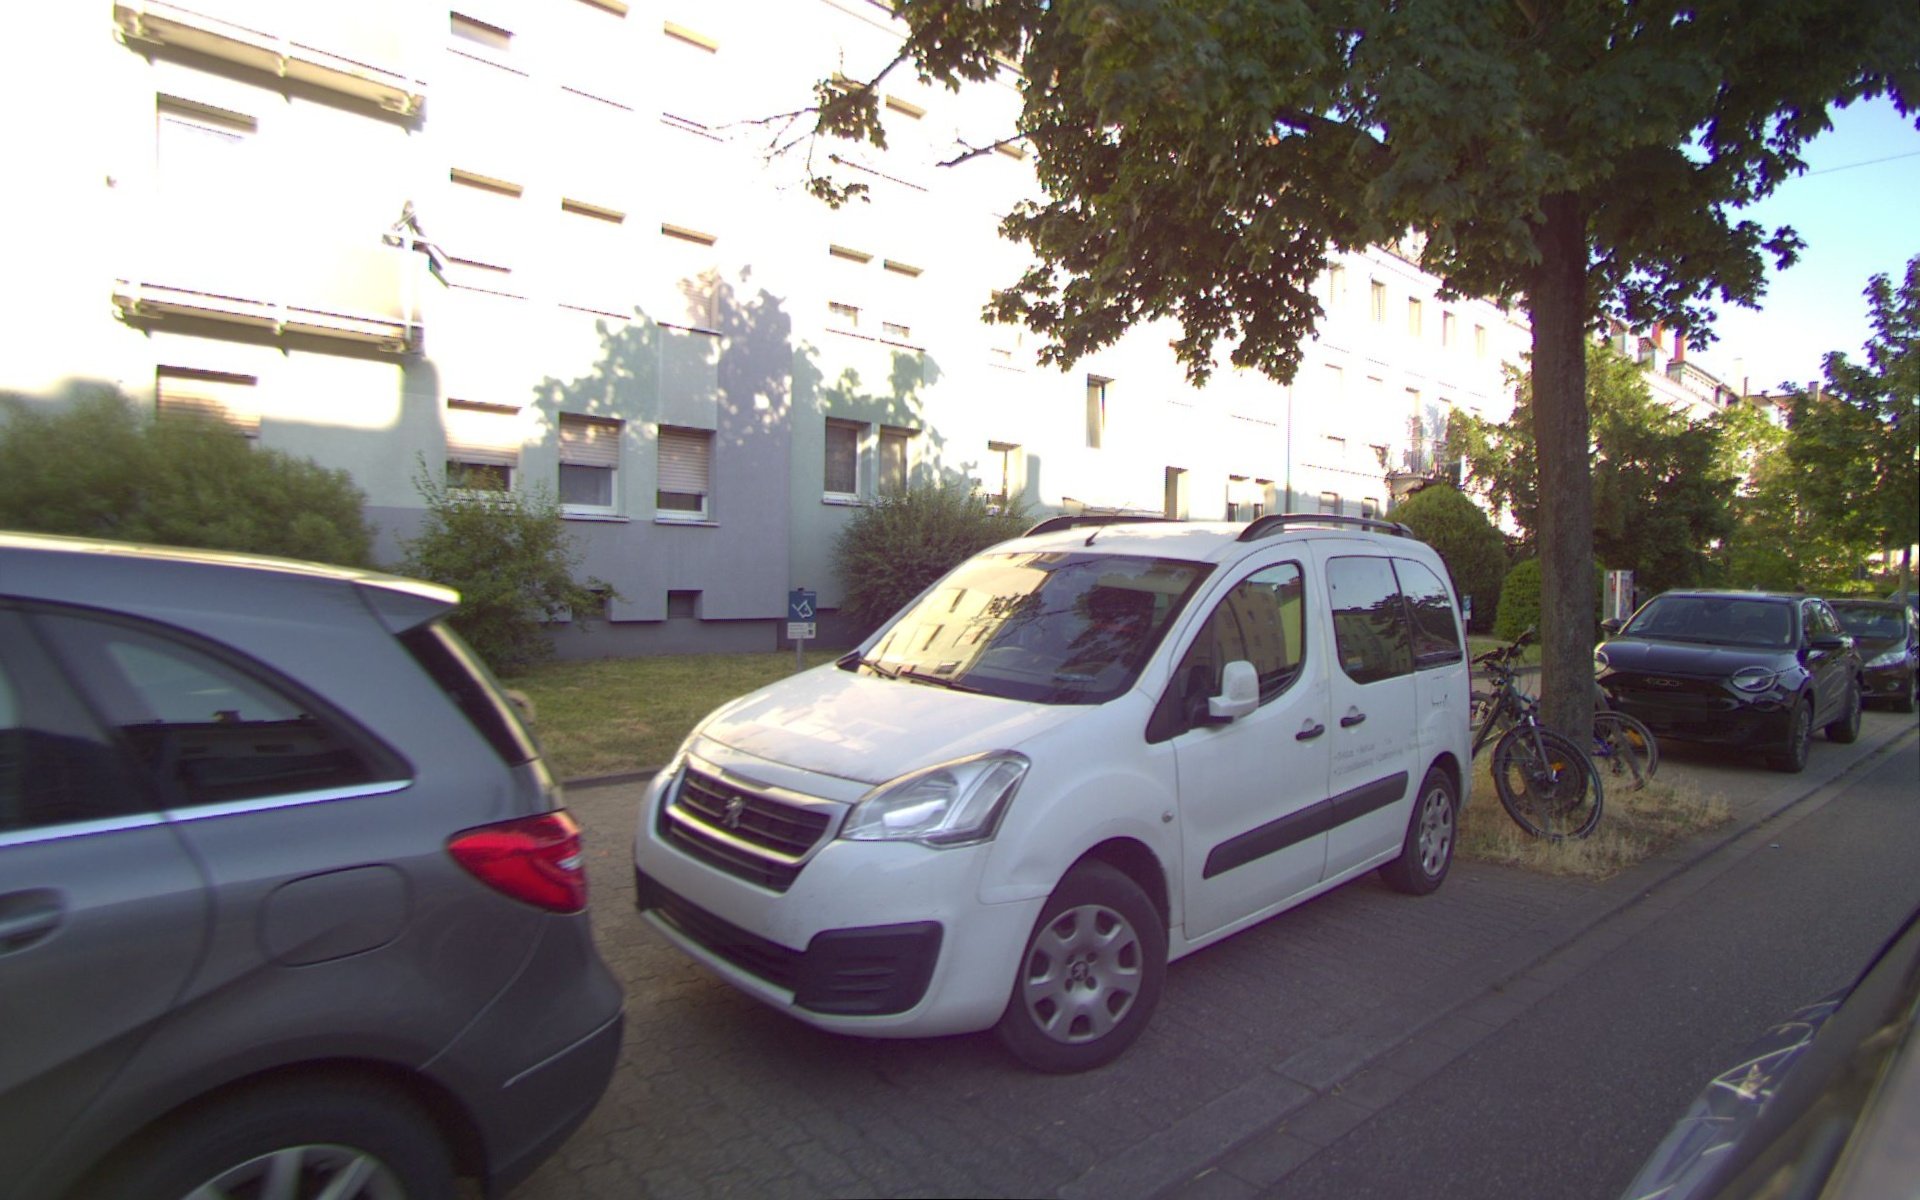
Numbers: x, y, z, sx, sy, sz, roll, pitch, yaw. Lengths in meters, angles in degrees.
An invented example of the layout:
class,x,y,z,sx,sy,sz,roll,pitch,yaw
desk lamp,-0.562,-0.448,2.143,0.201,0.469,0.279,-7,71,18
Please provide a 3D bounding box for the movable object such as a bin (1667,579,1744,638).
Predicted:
class,x,y,z,sx,sy,sz,roll,pitch,yaw
movable object such as a bin,20.390,0.218,27.690,1.116,1.510,1.273,1,3,-30

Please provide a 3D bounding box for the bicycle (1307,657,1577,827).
class,x,y,z,sx,sy,sz,roll,pitch,yaw
bicycle,3.130,0.882,6.680,1.551,0.880,0.387,2,2,42

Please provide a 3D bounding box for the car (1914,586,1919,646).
class,x,y,z,sx,sy,sz,roll,pitch,yaw
car,26.344,0.425,26.412,4.318,1.512,1.721,0,2,-42

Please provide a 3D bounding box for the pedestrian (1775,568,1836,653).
class,x,y,z,sx,sy,sz,roll,pitch,yaw
pedestrian,17.541,0.208,21.003,0.792,1.721,0.790,0,1,-36

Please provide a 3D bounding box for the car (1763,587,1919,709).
class,x,y,z,sx,sy,sz,roll,pitch,yaw
car,13.107,0.590,14.641,3.890,1.484,1.616,0,3,-41

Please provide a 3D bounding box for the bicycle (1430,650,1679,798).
class,x,y,z,sx,sy,sz,roll,pitch,yaw
bicycle,4.406,0.879,7.597,0.386,0.880,1.554,0,2,-43

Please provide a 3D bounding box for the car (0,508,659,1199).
class,x,y,z,sx,sy,sz,roll,pitch,yaw
car,-2.748,0.617,1.296,4.180,1.576,1.757,0,3,-43

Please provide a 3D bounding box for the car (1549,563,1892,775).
class,x,y,z,sx,sy,sz,roll,pitch,yaw
car,7.752,0.525,10.178,4.175,1.683,1.759,0,2,-39

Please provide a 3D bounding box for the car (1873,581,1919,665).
class,x,y,z,sx,sy,sz,roll,pitch,yaw
car,20.352,0.457,20.907,4.025,1.621,1.721,0,2,-41

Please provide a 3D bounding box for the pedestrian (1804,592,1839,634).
class,x,y,z,sx,sy,sz,roll,pitch,yaw
pedestrian,26.511,0.386,31.139,0.776,1.250,0.674,0,1,-40

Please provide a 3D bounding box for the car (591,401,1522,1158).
class,x,y,z,sx,sy,sz,roll,pitch,yaw
car,0.811,0.418,4.603,4.349,1.831,1.802,0,0,-43
